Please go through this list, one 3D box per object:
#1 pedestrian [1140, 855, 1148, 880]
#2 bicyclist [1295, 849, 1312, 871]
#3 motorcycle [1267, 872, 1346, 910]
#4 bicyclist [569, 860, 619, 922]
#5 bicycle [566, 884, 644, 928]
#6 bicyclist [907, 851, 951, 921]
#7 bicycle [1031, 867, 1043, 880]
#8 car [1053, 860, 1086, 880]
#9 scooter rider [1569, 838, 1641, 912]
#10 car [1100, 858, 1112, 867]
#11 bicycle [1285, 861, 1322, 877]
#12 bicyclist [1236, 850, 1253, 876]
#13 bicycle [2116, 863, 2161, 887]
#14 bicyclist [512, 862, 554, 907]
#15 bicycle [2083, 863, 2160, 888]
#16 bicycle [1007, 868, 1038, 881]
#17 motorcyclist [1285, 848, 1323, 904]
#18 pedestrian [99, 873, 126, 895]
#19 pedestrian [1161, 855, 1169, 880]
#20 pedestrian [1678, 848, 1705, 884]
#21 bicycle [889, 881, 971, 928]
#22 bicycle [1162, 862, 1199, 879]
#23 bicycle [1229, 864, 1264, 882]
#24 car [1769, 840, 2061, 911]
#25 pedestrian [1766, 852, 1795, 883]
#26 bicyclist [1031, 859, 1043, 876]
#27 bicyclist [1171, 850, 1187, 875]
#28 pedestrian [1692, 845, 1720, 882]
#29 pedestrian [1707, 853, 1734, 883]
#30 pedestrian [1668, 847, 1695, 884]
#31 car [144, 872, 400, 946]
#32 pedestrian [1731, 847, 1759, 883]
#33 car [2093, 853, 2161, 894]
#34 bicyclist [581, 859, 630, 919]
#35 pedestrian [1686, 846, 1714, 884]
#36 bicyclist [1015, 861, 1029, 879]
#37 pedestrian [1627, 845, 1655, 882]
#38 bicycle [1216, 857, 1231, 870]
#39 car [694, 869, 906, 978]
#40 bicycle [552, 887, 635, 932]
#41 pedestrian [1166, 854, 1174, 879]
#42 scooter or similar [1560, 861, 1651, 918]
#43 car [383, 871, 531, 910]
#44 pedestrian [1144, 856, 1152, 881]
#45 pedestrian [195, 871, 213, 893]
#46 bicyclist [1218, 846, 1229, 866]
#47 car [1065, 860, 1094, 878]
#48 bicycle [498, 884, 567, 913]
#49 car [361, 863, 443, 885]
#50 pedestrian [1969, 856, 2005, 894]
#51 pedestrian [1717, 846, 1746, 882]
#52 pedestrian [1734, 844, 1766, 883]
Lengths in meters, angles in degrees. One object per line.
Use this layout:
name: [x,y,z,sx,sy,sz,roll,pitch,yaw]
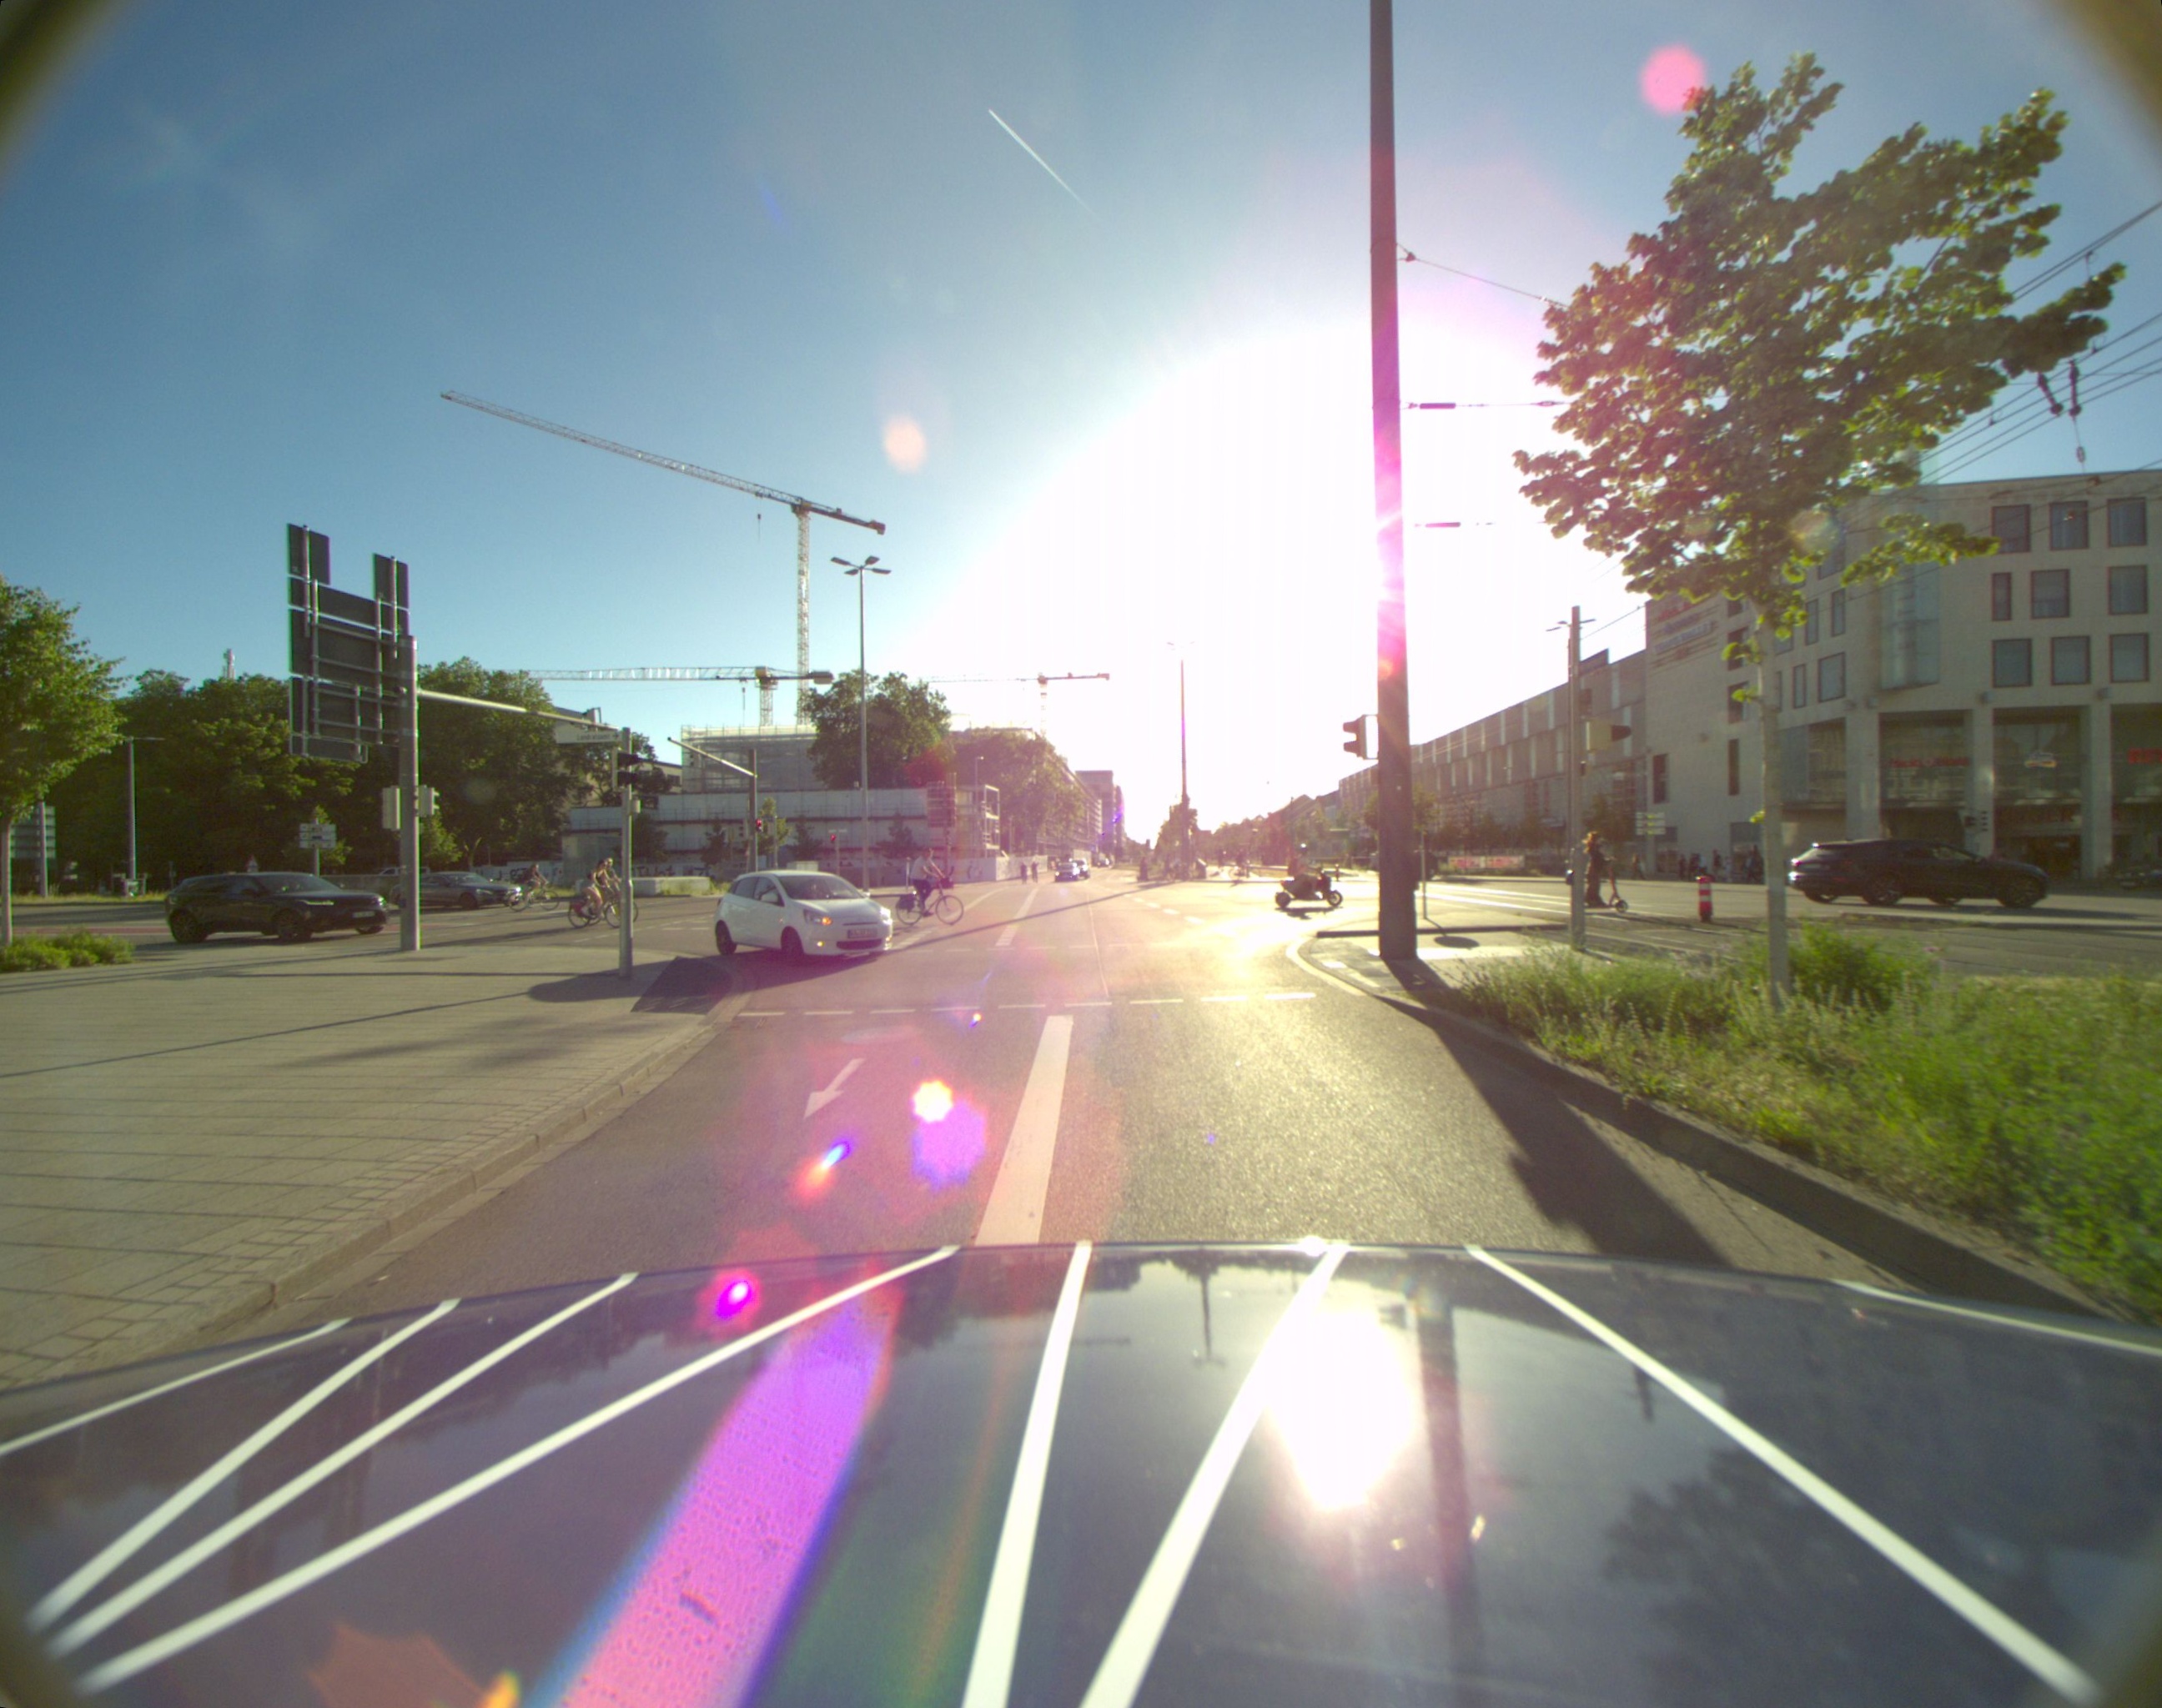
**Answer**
pedestrian: [3.959,0.872,47.731,0.450,1.557,0.520,-1,0,11]
bicyclist: [13.877,0.374,47.457,0.841,1.349,0.806,-2,0,3]
motorcycle: [6.074,1.005,20.513,1.957,0.963,0.758,-1,1,9]
bicyclist: [-12.445,0.933,19.433,0.846,1.534,0.653,-1,0,10]
bicycle: [-12.685,1.377,20.267,1.813,1.110,0.626,-1,0,11]
bicyclist: [-3.663,0.768,18.366,0.785,1.659,0.702,-1,0,15]
bicycle: [-3.295,1.447,57.054,0.805,0.922,2.077,-2,0,-2]
car: [-0.865,1.218,59.038,1.997,1.368,4.002,-2,0,6]
scooter rider: [11.265,0.442,16.361,1.115,1.535,0.644,-1,1,8]
car: [4.075,1.379,123.846,1.784,1.317,4.000,-1,1,5]
bicycle: [13.898,0.949,47.458,2.075,0.922,0.806,-2,0,3]
bicyclist: [9.586,0.534,44.600,0.940,1.536,0.649,-1,0,13]
bicycle: [50.395,0.985,35.654,0.683,1.104,2.478,-1,0,11]
bicyclist: [-18.926,1.056,26.240,0.937,1.495,0.624,-1,1,0]
bicycle: [49.068,1.014,35.873,0.657,1.106,2.412,-1,0,11]
bicycle: [-4.181,1.465,54.504,2.072,0.922,0.807,-2,0,27]
motorcyclist: [6.009,0.581,20.521,0.880,1.475,0.758,-1,1,9]
pedestrian: [-80.763,2.526,63.354,0.962,1.773,0.998,0,2,11]
pedestrian: [5.295,0.851,47.743,0.450,1.557,0.520,-1,0,11]
pedestrian: [36.847,0.711,45.851,0.946,2.111,0.898,-1,1,1]
bicycle: [-3.653,1.208,18.379,1.797,1.087,0.710,-1,0,15]
bicycle: [5.828,0.968,44.756,2.075,0.973,0.806,-2,0,4]
bicycle: [9.732,1.106,44.566,1.975,0.991,0.649,-1,0,13]
car: [20.976,0.531,19.347,4.786,1.652,2.202,-1,0,5]
pedestrian: [37.695,0.701,40.941,0.950,1.641,1.005,-1,1,-36]
bicyclist: [-3.307,1.015,57.059,0.805,1.290,0.776,-2,0,-2]
bicyclist: [5.768,0.496,44.755,0.842,1.394,0.806,-2,0,4]
pedestrian: [36.443,0.538,44.316,0.947,2.111,0.897,-1,1,-9]
pedestrian: [33.968,0.747,40.358,0.843,1.562,0.943,-1,1,-41]
pedestrian: [34.558,0.671,43.731,0.948,2.111,0.896,-1,1,-24]
car: [-20.048,1.332,18.917,4.785,1.652,2.001,-1,0,9]
pedestrian: [37.966,0.609,43.436,1.025,2.002,0.915,-1,1,-28]
car: [43.937,0.735,30.227,4.288,1.571,1.945,-1,0,9]
bicyclist: [-12.680,0.934,20.269,0.893,1.566,0.626,-1,0,11]
pedestrian: [34.653,0.604,42.538,0.948,2.111,0.896,-1,1,-28]
bicyclist: [-4.200,1.137,54.519,0.636,1.263,0.807,-1,1,27]
pedestrian: [32.102,0.521,43.576,0.947,2.111,0.897,-1,1,-12]
bicycle: [10.681,0.672,56.998,0.755,0.935,2.395,-1,0,3]
car: [-4.927,1.056,13.090,3.957,1.463,1.664,0,2,41]
bicycle: [-12.463,1.418,19.448,1.797,1.087,0.653,-1,0,10]
pedestrian: [5.693,0.803,48.756,0.450,1.557,0.520,-1,0,11]
scooter or similar: [11.271,0.751,16.363,1.481,1.169,0.644,-1,1,8]
car: [-23.315,1.340,28.452,4.518,1.344,1.778,-1,1,11]
pedestrian: [4.251,0.908,48.337,0.450,1.557,0.520,-1,0,11]
pedestrian: [-69.857,2.234,60.502,0.696,1.716,0.665,-1,0,10]
bicyclist: [10.672,0.158,56.974,0.755,1.496,0.618,-1,0,3]
car: [-0.118,1.219,64.299,1.997,1.368,4.002,-2,0,6]
bicycle: [-18.925,1.525,26.247,1.909,0.903,0.624,-1,1,0]
car: [-62.239,1.798,69.798,1.996,1.880,5.337,-2,0,15]
pedestrian: [42.278,0.966,35.471,0.756,1.730,0.753,-1,1,8]
pedestrian: [38.231,0.578,44.682,0.947,2.111,0.898,-1,1,-6]
pedestrian: [37.081,0.511,42.110,1.100,2.116,1.061,-1,1,-30]
